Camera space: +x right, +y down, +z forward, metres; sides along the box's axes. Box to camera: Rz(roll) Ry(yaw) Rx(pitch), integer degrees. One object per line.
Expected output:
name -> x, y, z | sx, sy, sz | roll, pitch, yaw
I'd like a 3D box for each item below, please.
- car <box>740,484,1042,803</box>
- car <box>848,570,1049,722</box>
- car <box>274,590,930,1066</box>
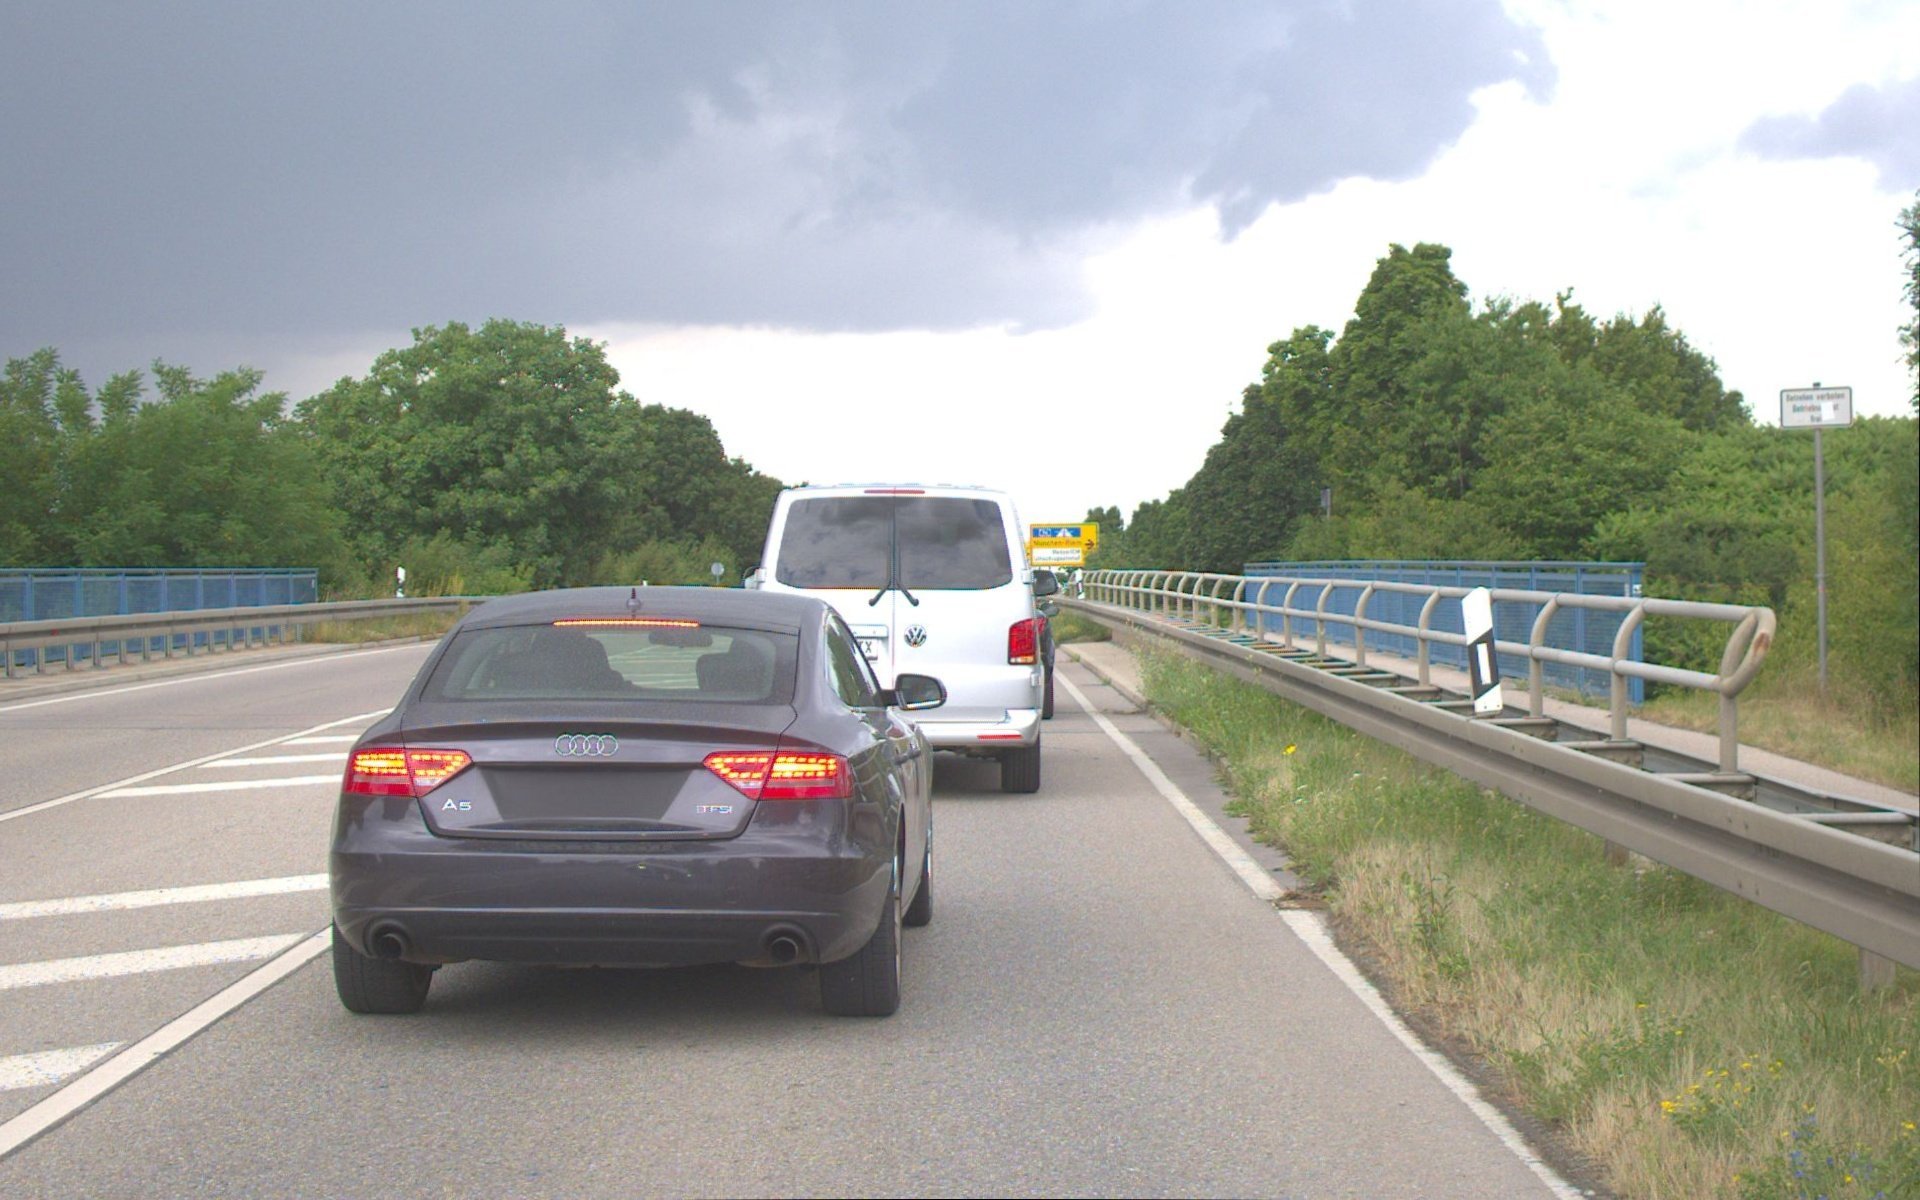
car -> -0.424, 0.249, 22.922 | 1.828, 1.929, 4.000 | 0, 0, 0
car -> -0.065, 0.395, 33.194 | 1.821, 1.376, 4.072 | 0, 0, 1
car -> -1.077, 0.669, 12.200 | 1.821, 1.376, 4.072 | 0, 0, 1
